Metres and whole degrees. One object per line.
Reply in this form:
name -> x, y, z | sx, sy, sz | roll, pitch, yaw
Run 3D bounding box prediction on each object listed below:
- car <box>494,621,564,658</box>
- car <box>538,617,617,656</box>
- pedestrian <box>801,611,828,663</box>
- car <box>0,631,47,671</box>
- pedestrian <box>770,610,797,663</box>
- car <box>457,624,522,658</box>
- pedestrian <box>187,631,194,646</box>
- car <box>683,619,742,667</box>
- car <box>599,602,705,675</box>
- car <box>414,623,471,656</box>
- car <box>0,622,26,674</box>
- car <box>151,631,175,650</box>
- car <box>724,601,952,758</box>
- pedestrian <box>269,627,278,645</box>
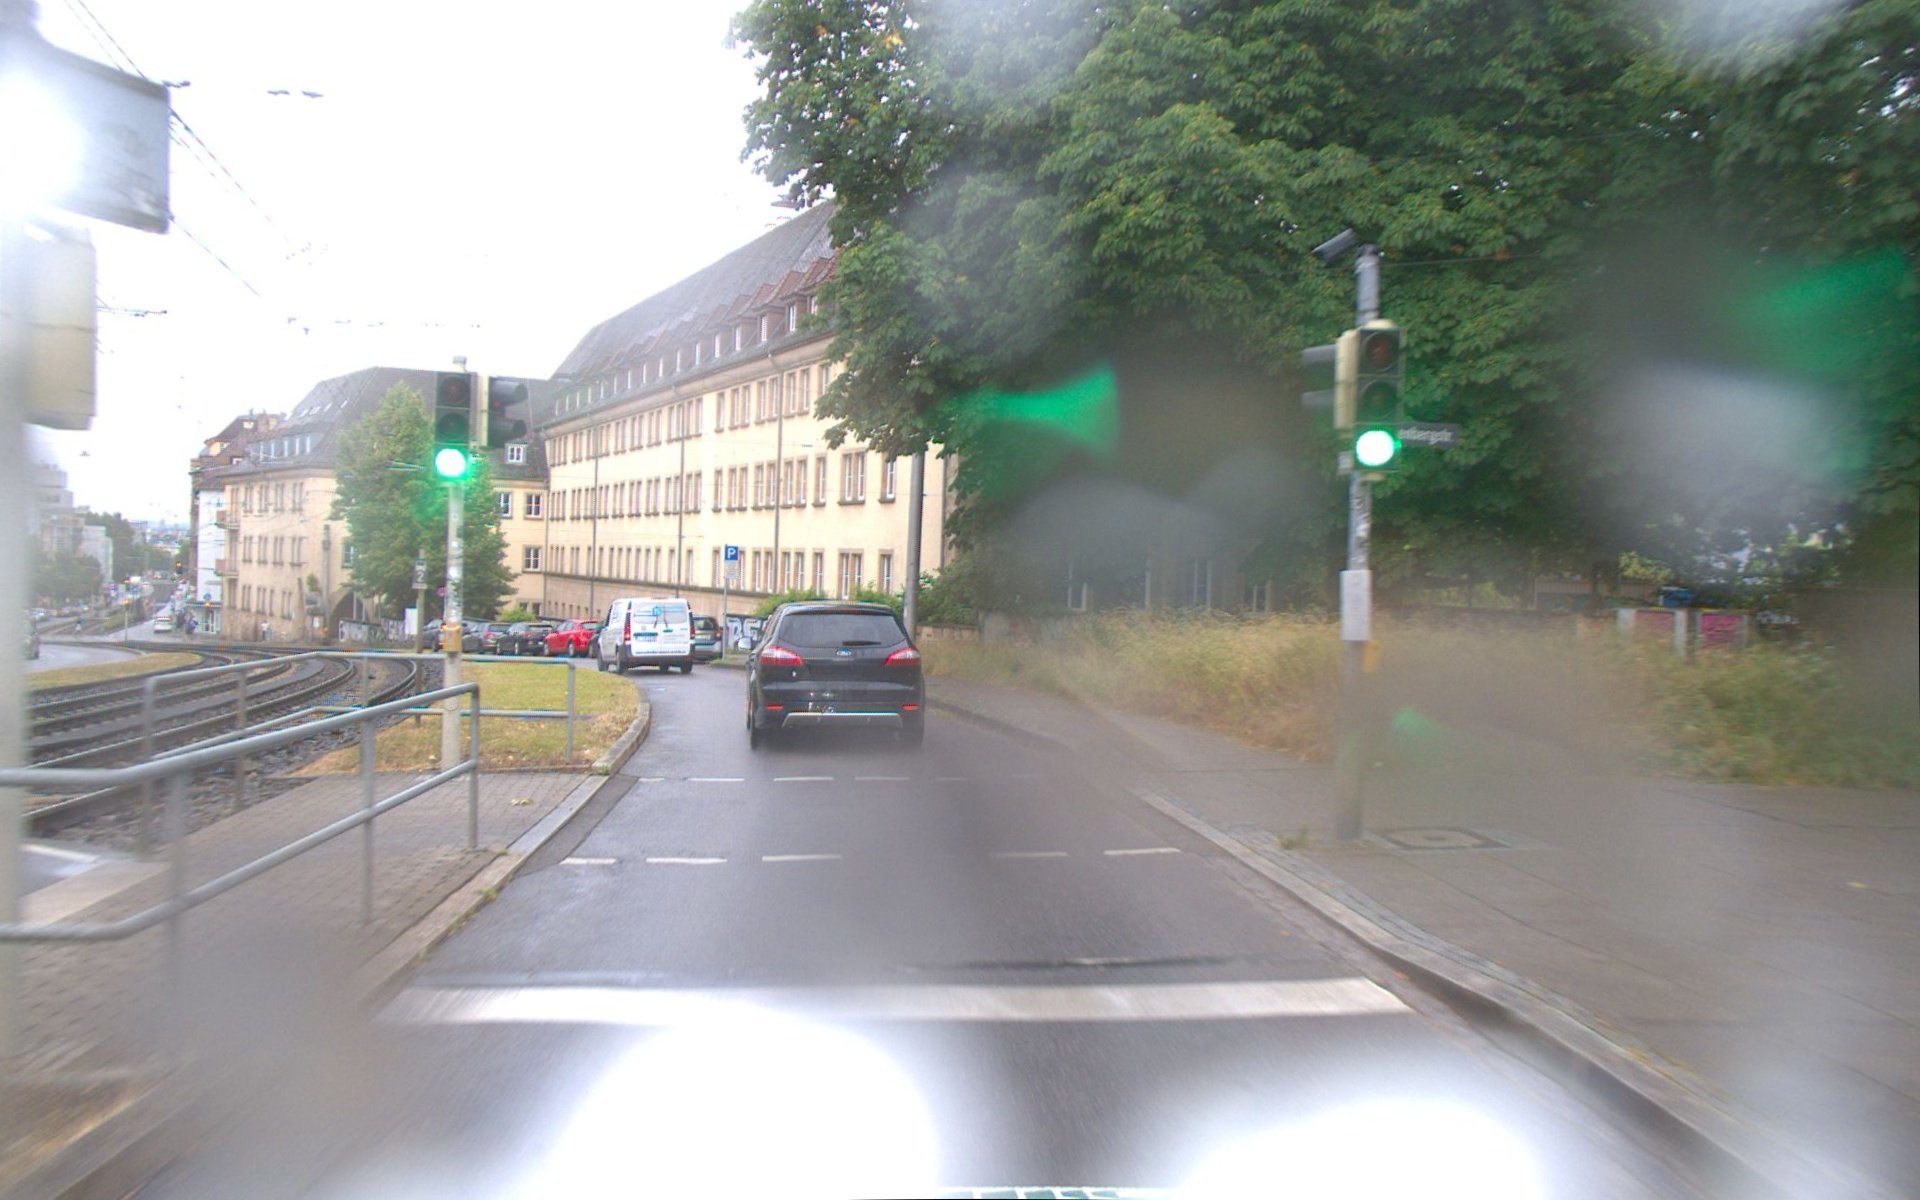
car -> -18.497, 1.691, 70.849 | 1.649, 1.502, 4.408 | -1, -1, -32
car -> -15.367, 1.473, 66.379 | 1.652, 1.502, 4.014 | 2, -2, -36
pedestrian -> -5.022, 1.273, 56.957 | 0.708, 1.785, 0.733 | 0, -1, -24
car -> -36.231, 1.947, 63.365 | 1.942, 1.456, 4.163 | 2, -2, -26
pedestrian -> -6.028, 1.258, 56.457 | 0.708, 1.785, 0.733 | 0, -1, -24
car -> -21.583, 1.880, 75.824 | 1.651, 1.502, 4.058 | 0, -1, -35
pedestrian -> -68.858, 3.482, 148.077 | 0.504, 1.339, 0.500 | 1, -1, -33
car -> -8.002, 1.362, 53.317 | 1.571, 1.491, 2.709 | -1, -1, -15
car -> -7.976, 0.952, 42.590 | 2.105, 1.776, 4.194 | 0, -1, -19
car -> -25.212, 1.910, 80.498 | 1.649, 1.551, 4.063 | -1, -1, -32
car -> -31.613, 1.541, 53.665 | 1.779, 1.611, 4.663 | 1, -2, -24
car -> -78.613, 3.966, 163.203 | 1.968, 1.803, 3.969 | 1, -1, -24
car -> -1.449, 0.777, 17.987 | 1.887, 1.505, 3.986 | 0, -1, -13
pedestrian -> -50.121, 2.613, 120.786 | 0.500, 1.339, 0.504 | 1, -2, -35
